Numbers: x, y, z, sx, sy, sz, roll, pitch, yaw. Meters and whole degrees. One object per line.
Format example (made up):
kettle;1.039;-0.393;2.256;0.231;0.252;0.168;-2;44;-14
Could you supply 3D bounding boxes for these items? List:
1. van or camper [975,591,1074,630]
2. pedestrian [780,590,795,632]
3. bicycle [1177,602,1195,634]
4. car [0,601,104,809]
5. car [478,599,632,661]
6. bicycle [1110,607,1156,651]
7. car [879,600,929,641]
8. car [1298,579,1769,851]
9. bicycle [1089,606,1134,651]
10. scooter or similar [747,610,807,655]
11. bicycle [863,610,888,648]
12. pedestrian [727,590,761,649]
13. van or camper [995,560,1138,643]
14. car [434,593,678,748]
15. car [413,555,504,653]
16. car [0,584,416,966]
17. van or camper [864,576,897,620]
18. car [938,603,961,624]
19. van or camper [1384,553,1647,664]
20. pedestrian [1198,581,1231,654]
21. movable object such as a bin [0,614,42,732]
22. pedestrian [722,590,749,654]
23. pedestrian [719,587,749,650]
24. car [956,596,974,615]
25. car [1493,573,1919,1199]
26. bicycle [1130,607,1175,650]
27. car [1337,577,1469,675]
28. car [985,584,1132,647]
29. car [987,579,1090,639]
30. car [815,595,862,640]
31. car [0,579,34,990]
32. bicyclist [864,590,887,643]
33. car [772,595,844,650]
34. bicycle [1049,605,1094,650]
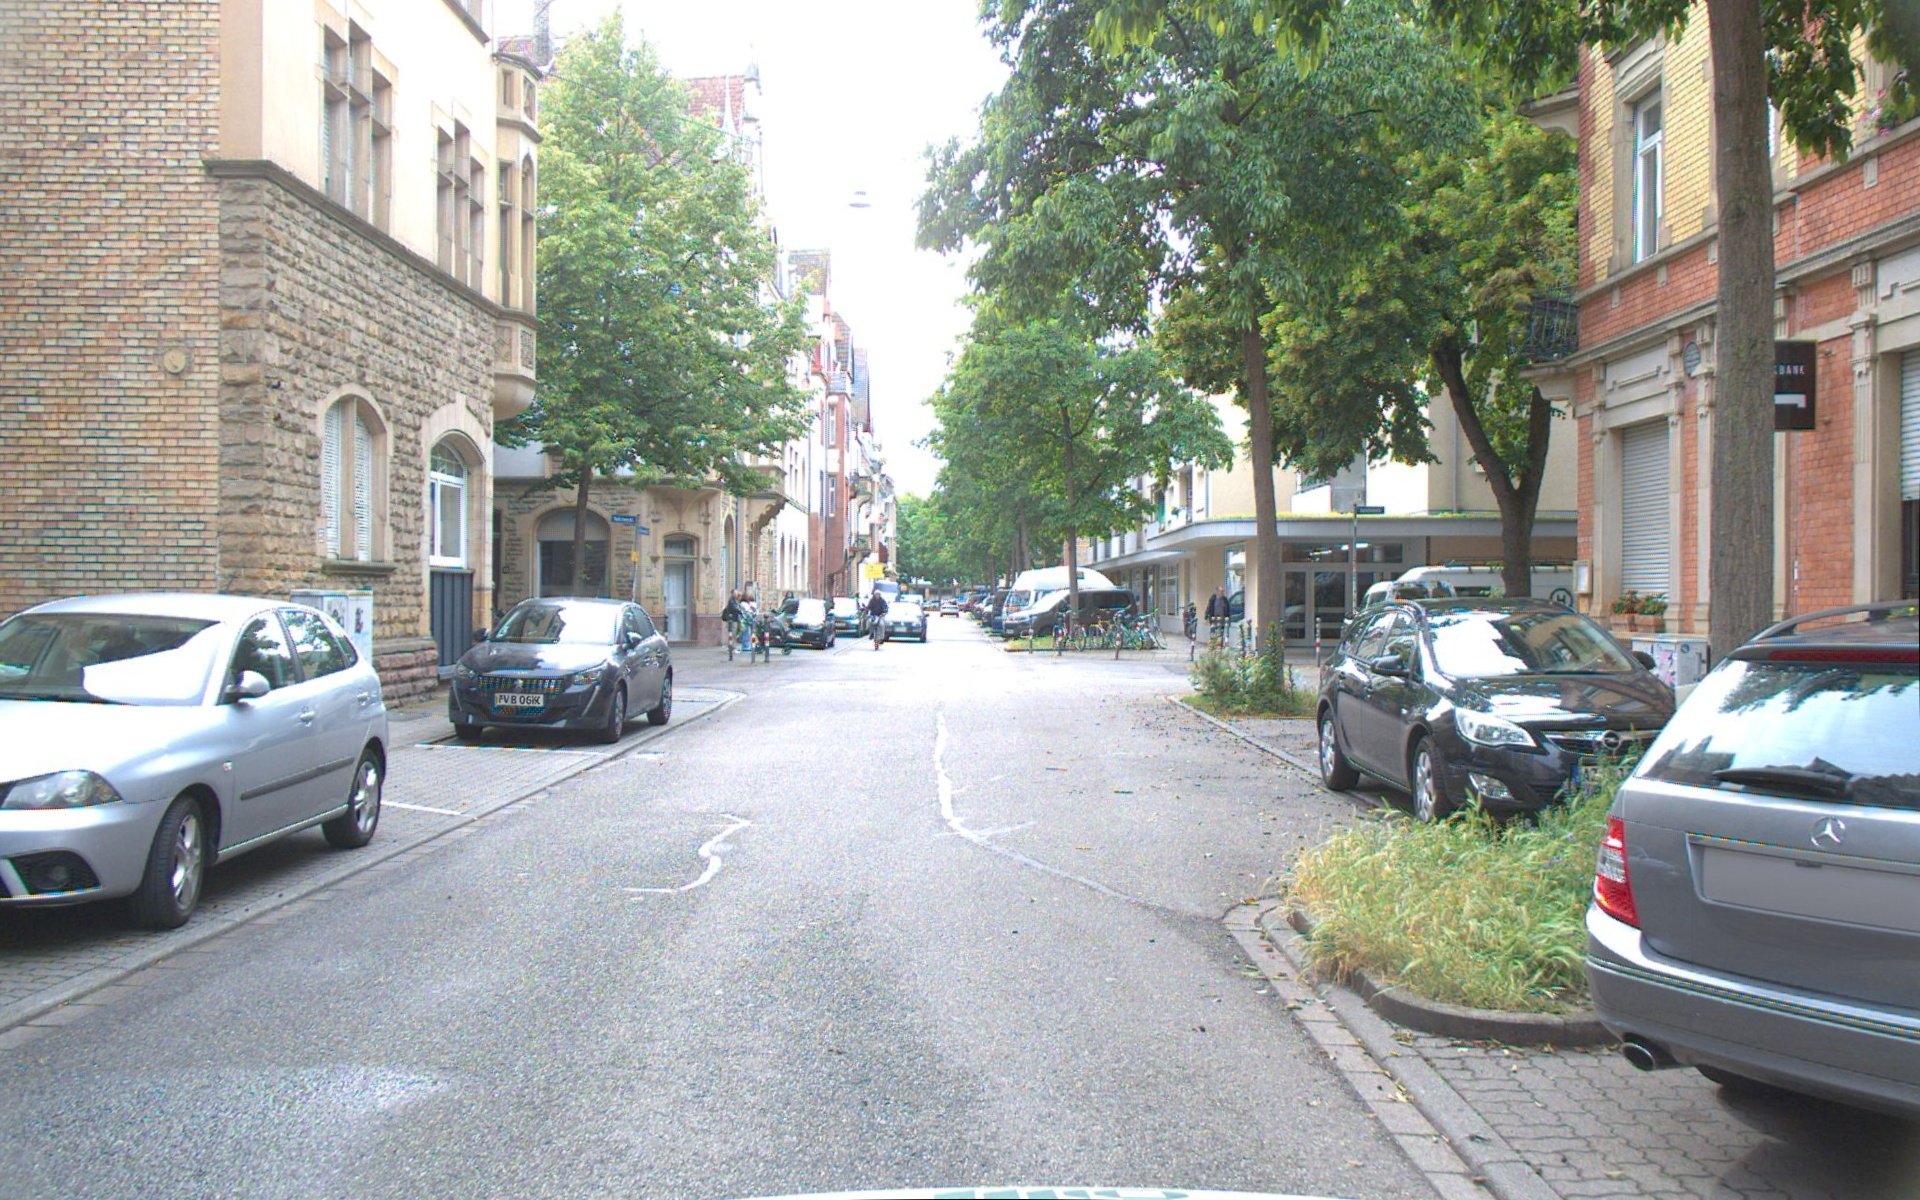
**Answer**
van or camper;3.491;0.564;89.372;4.949;1.902;2.107;-2;0;-28
pedestrian;-6.300;0.396;60.319;0.505;1.545;0.546;0;0;0
bicycle;8.016;0.638;58.663;0.474;1.109;1.701;0;0;2
car;-9.293;0.803;13.281;3.905;1.592;1.767;0;0;0
car;-10.463;0.765;42.849;3.492;1.485;1.651;-1;2;9
bicycle;4.821;0.802;46.141;0.540;1.194;1.717;0;0;-22
car;-2.013;0.755;60.452;1.673;1.438;3.852;0;-1;0
car;3.760;0.657;11.760;1.728;1.512;4.479;-2;0;0
bicycle;4.187;0.779;45.906;0.540;1.194;1.717;0;0;-22
scooter or similar;-4.896;0.865;44.257;1.438;1.123;0.676;2;0;11
bicycle;-2.522;0.865;49.516;0.620;1.113;1.799;0;-1;2
pedestrian;-5.956;0.535;45.541;0.620;1.621;0.666;1;0;41
van or camper;3.547;0.038;54.957;4.539;2.641;1.889;0;0;-33
car;-4.284;0.681;18.130;1.692;1.459;3.881;2;0;0
car;-10.857;0.089;35.941;1.798;2.002;3.944;0;0;-16
car;-4.144;0.671;8.383;1.557;1.459;3.809;2;0;-2
van or camper;-5.247;-0.167;110.154;1.967;2.697;5.317;0;3;0
car;-0.913;1.247;148.544;1.952;1.825;4.000;2;-1;0
van or camper;13.235;0.176;39.732;5.648;2.537;2.138;0;3;6
pedestrian;6.410;0.434;41.675;0.763;1.828;0.509;1;0;1
movable object such as a bin;-8.937;0.669;15.430;0.430;1.081;0.551;0;0;0
pedestrian;-5.987;0.578;44.131;0.516;1.672;0.529;1;0;11
pedestrian;-6.117;0.489;44.748;0.603;1.672;0.604;1;0;11
car;0.606;0.644;193.488;1.953;2.049;3.999;3;0;-1
car;3.634;0.624;4.921;4.400;1.452;1.734;-2;0;-38
bicycle;5.392;0.789;46.457;0.540;1.194;1.686;0;0;-22
car;8.926;0.493;33.593;1.733;1.851;4.001;0;0;2
car;3.103;0.469;51.972;4.278;1.886;1.895;0;0;-26
car;3.075;0.316;63.733;2.024;2.235;4.386;0;0;33
car;-4.702;0.659;64.133;1.613;1.598;2.956;2;1;-1
car;-4.142;0.650;4.306;1.486;1.459;3.455;2;0;0
bicyclist;-2.527;0.498;49.506;0.634;1.565;0.677;-1;0;2
car;-4.464;0.693;49.130;1.674;1.521;4.000;2;-1;1
bicycle;3.041;0.734;45.234;0.540;1.194;1.717;0;0;-22
